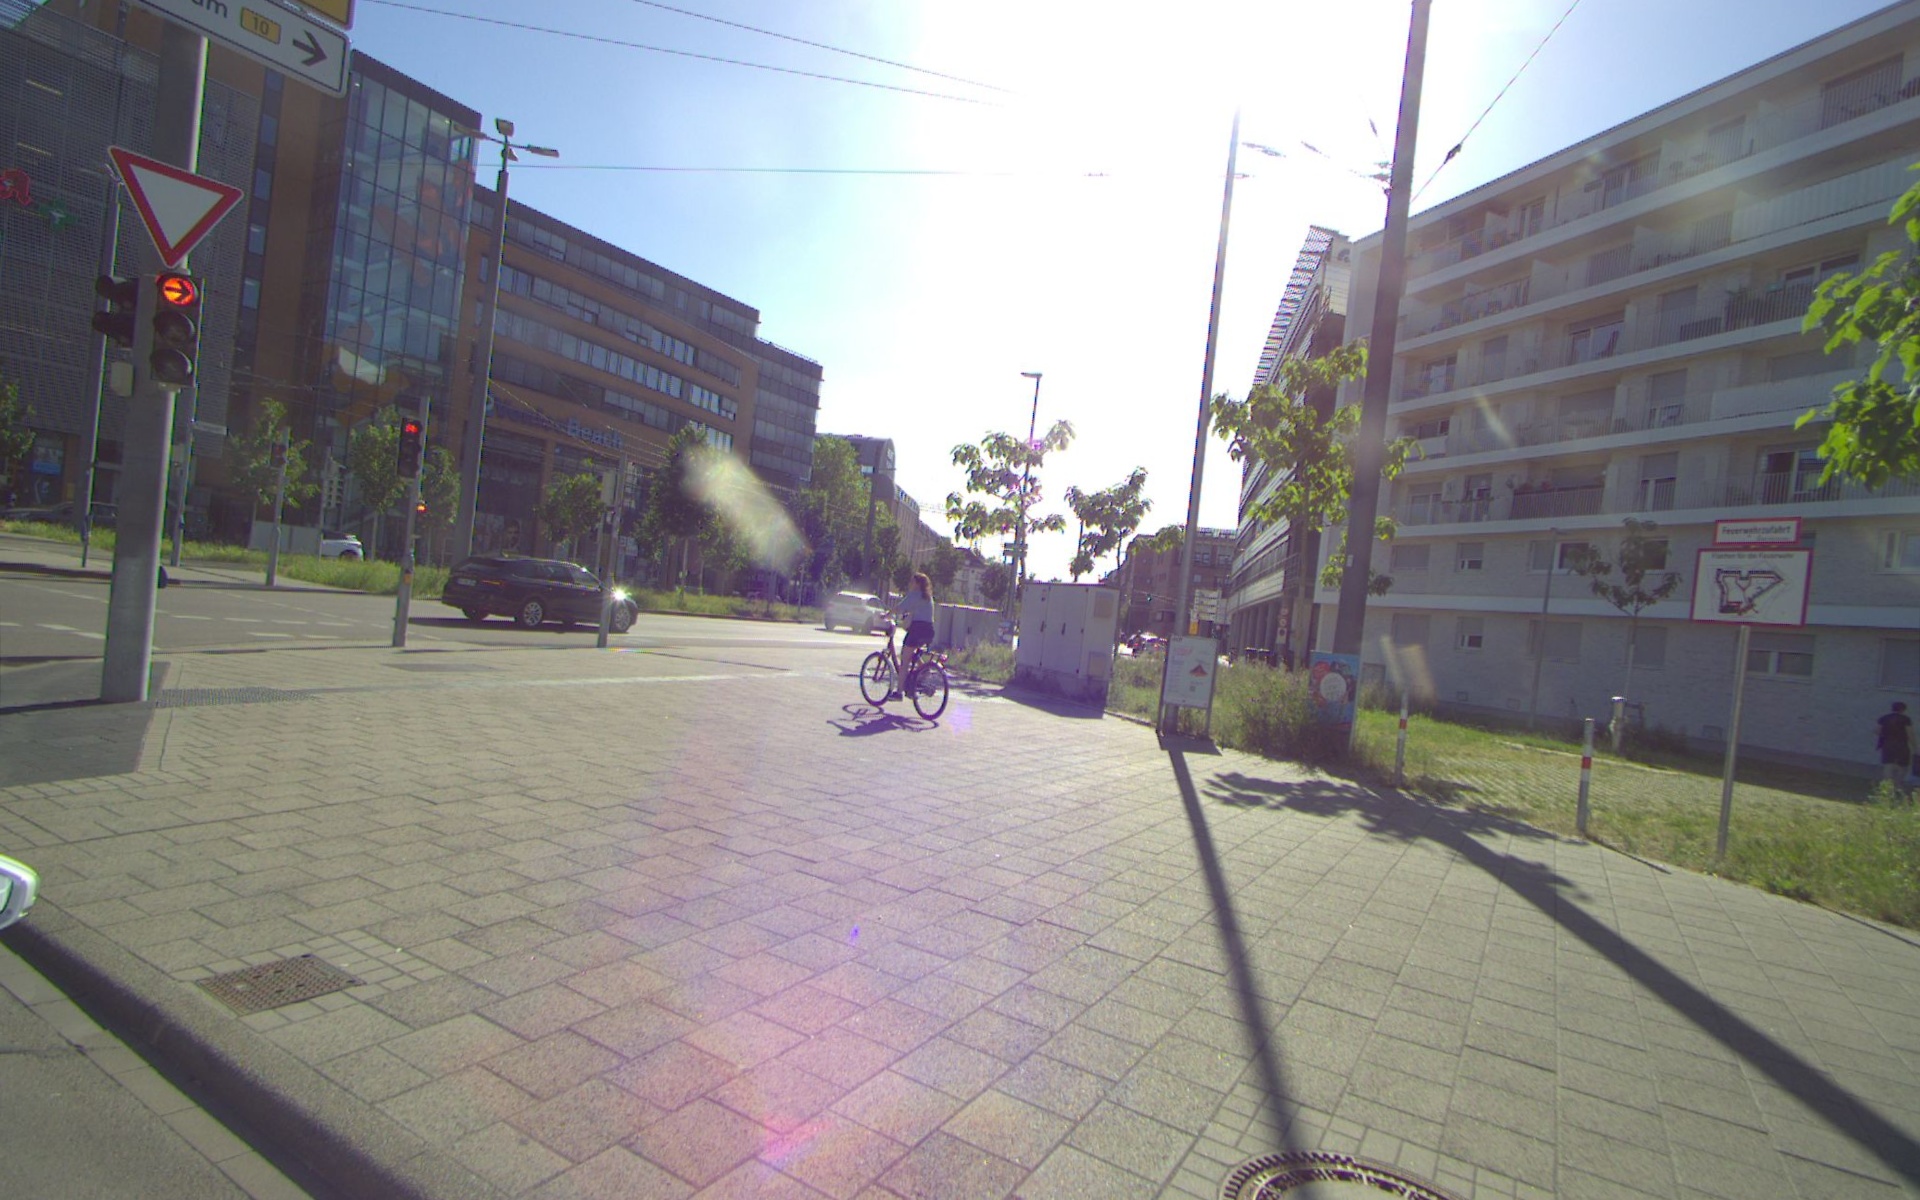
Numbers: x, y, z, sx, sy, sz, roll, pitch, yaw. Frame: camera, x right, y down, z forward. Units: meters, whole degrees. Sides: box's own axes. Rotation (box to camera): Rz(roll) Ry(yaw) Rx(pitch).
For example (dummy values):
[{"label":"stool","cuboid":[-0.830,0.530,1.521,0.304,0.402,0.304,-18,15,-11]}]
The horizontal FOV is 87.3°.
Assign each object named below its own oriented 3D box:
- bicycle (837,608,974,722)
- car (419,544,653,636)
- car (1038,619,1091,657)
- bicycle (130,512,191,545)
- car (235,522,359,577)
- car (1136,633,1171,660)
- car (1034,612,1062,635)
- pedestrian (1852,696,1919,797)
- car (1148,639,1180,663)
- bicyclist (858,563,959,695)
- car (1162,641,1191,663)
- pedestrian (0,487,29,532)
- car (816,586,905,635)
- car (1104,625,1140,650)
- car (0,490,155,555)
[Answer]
[{"label":"bicycle","cuboid":[-0.690,0.749,12.038,0.663,1.085,1.802,7,0,-35]},{"label":"car","cuboid":[-9.097,-0.145,22.069,1.800,1.479,4.683,7,-1,23]},{"label":"car","cuboid":[5.314,1.951,50.537,1.674,1.591,4.875,7,-1,16]},{"label":"bicycle","cuboid":[-40.521,-3.613,51.037,0.595,1.310,2.260,7,-2,30]},{"label":"car","cuboid":[-30.341,-2.263,46.173,1.808,1.885,4.338,6,-1,25]},{"label":"car","cuboid":[13.672,3.304,70.950,1.677,1.515,4.281,7,-2,19]},{"label":"car","cuboid":[7.603,2.010,86.730,1.615,1.665,3.704,7,-1,15]},{"label":"pedestrian","cuboid":[17.628,2.738,18.836,0.970,1.719,0.842,6,2,-16]},{"label":"car","cuboid":[15.713,3.951,77.284,1.677,1.515,4.281,7,-2,19]},{"label":"bicyclist","cuboid":[-0.626,0.334,12.017,0.663,1.454,0.931,6,1,-36]},{"label":"car","cuboid":[17.915,4.310,83.269,1.677,1.515,4.281,7,-2,19]},{"label":"pedestrian","cuboid":[-41.834,-4.010,44.240,1.019,1.852,1.012,8,2,35]},{"label":"car","cuboid":[-4.110,0.492,42.464,1.901,1.728,4.685,7,0,17]},{"label":"car","cuboid":[11.810,2.755,73.185,1.677,1.515,4.281,7,-2,19]},{"label":"car","cuboid":[-32.071,-2.770,36.331,1.810,1.484,4.161,6,-5,30]}]
